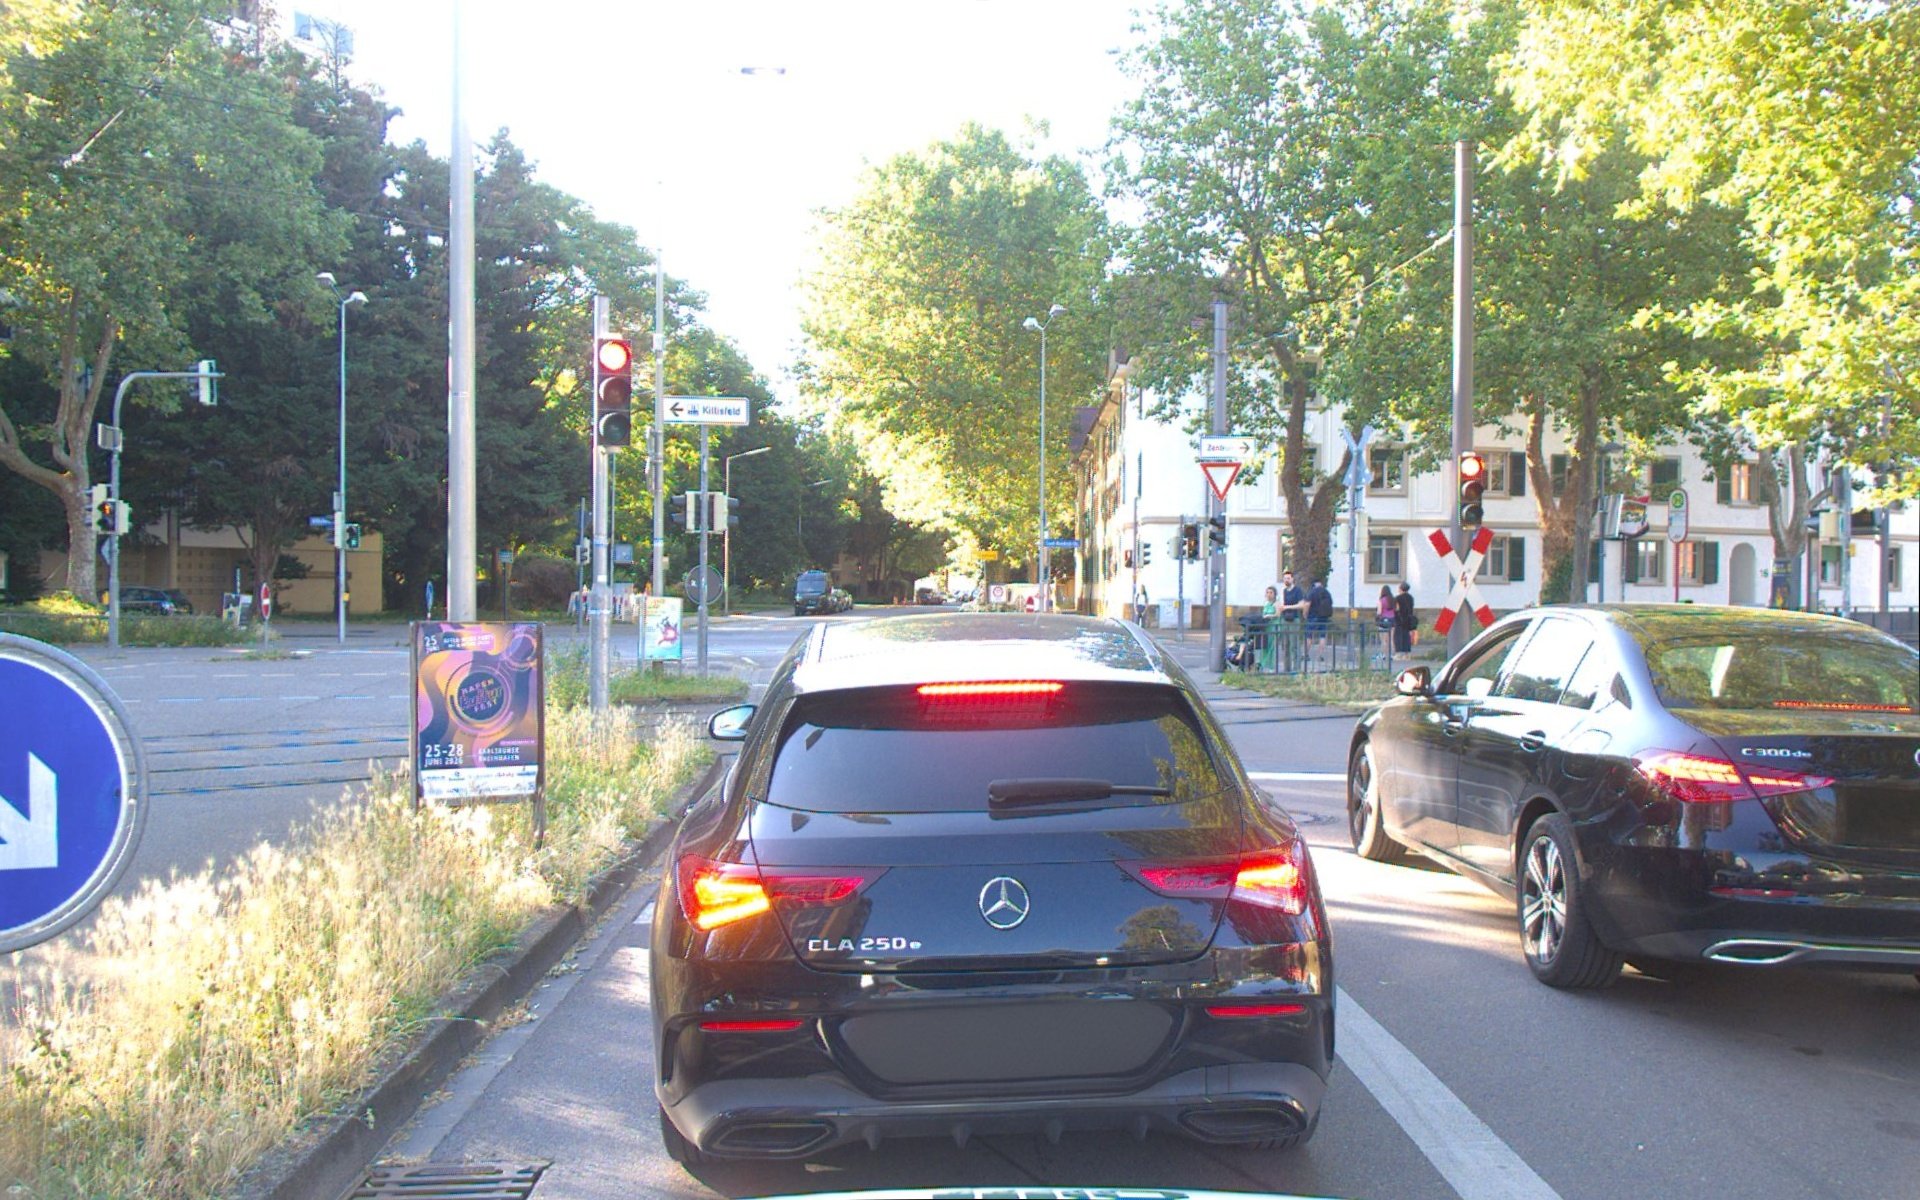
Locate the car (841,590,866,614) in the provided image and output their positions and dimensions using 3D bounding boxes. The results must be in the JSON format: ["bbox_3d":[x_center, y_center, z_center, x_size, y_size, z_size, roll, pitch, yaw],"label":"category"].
[{"bbox_3d":[-8.120,0.145,126.283,1.698,1.796,3.970,1,0,-1],"label":"car"}]

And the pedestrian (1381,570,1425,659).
[{"bbox_3d":[9.862,0.318,36.818,0.691,1.951,0.838,1,-1,-4],"label":"pedestrian"}]

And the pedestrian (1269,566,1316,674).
[{"bbox_3d":[6.072,0.361,30.210,0.669,1.951,0.707,1,-1,-3],"label":"pedestrian"}]

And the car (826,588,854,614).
[{"bbox_3d":[-8.466,0.100,116.981,1.698,1.796,4.084,1,0,-1],"label":"car"}]

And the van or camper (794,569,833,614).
[{"bbox_3d":[-8.782,-0.485,99.617,1.953,2.586,4.650,1,0,-1],"label":"van or camper"}]

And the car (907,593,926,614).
[{"bbox_3d":[-3.939,0.317,150.323,1.698,1.796,4.018,1,0,-1],"label":"car"}]

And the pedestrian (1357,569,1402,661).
[{"bbox_3d":[9.071,0.330,35.807,0.691,1.951,0.838,1,-1,-4],"label":"pedestrian"}]

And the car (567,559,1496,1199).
[{"bbox_3d":[0.159,0.650,5.340,1.851,1.475,4.001,1,2,0],"label":"car"}]

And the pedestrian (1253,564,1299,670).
[{"bbox_3d":[5.915,0.308,30.980,0.669,1.951,0.706,1,-1,-5],"label":"pedestrian"}]

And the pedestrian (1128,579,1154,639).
[{"bbox_3d":[5.929,0.297,54.144,0.691,1.951,0.838,1,-1,-4],"label":"pedestrian"}]

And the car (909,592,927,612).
[{"bbox_3d":[-3.987,0.207,158.407,1.698,1.796,4.018,1,0,-1],"label":"car"}]

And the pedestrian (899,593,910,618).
[{"bbox_3d":[-4.351,0.455,129.958,0.692,1.951,0.837,1,-1,-11],"label":"pedestrian"}]

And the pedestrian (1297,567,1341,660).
[{"bbox_3d":[7.672,0.287,35.408,0.691,1.951,0.838,1,-1,-4],"label":"pedestrian"}]

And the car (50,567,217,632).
[{"bbox_3d":[-24.372,-0.010,48.857,3.902,1.805,2.001,1,0,7],"label":"car"}]

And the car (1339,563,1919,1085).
[{"bbox_3d":[3.150,0.654,7.264,1.851,1.516,4.381,1,2,-1],"label":"car"}]

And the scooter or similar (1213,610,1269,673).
[{"bbox_3d":[5.174,0.753,30.477,0.812,1.124,0.808,1,0,-6],"label":"scooter or similar"}]

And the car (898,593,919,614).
[{"bbox_3d":[-4.514,0.349,145.494,1.698,1.796,4.018,1,0,-1],"label":"car"}]
